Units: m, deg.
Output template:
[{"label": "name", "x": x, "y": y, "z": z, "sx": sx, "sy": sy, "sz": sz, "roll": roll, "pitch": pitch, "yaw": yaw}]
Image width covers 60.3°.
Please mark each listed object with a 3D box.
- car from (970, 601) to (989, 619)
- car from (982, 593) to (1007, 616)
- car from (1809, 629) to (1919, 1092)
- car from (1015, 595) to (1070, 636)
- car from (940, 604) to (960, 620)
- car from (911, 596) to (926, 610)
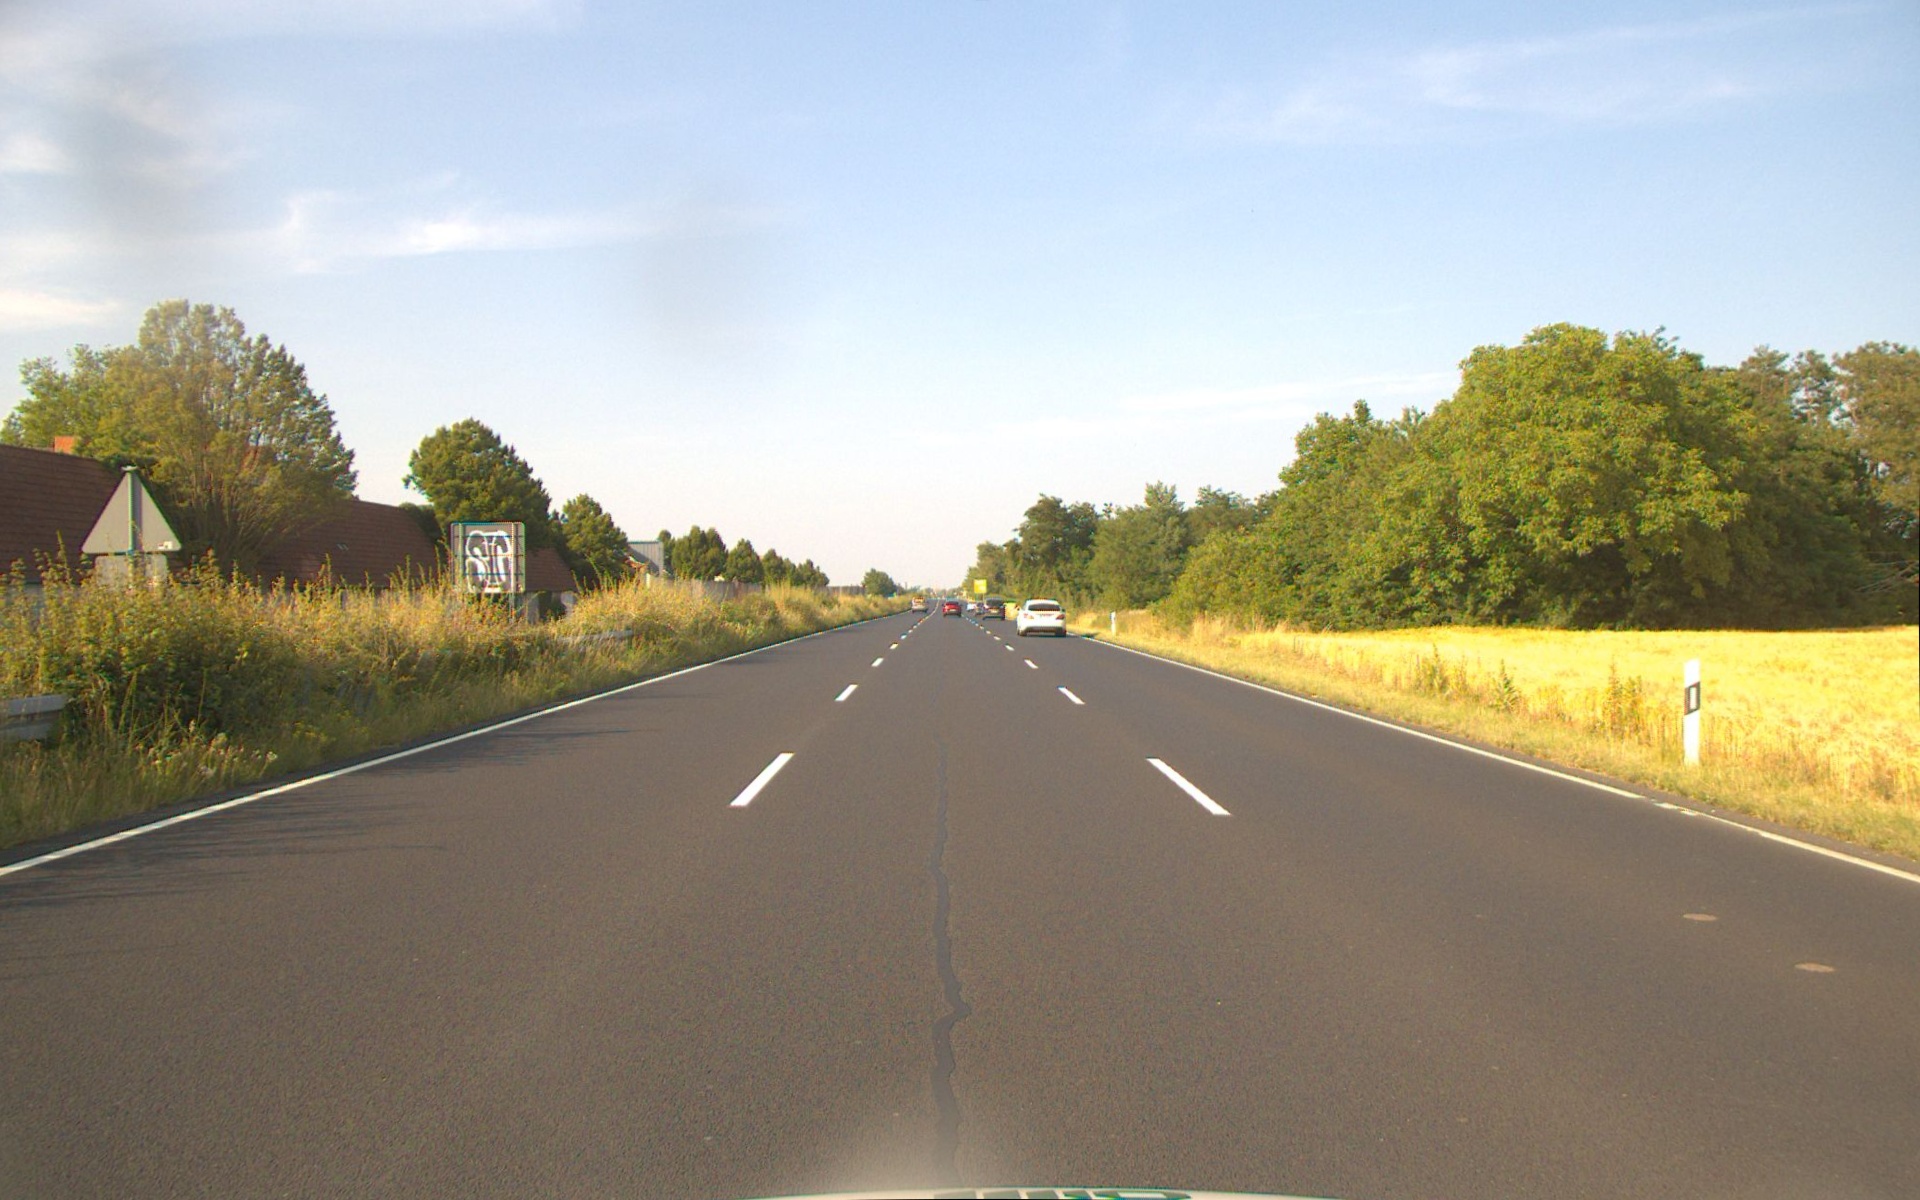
[{"label": "car", "x": 1.980, "y": 1.055, "z": 167.331, "sx": 1.796, "sy": 1.747, "sz": 3.861, "roll": 1, "pitch": -1, "yaw": 0}, {"label": "car", "x": 2.645, "y": 0.356, "z": 127.581, "sx": 1.791, "sy": 1.758, "sz": 3.999, "roll": 1, "pitch": -1, "yaw": -1}, {"label": "car", "x": 3.779, "y": 0.811, "z": 3.755, "sx": 1.584, "sy": 1.411, "sz": 3.950, "roll": 2, "pitch": -1, "yaw": -1}, {"label": "car", "x": 3.287, "y": 0.629, "z": 66.370, "sx": 1.953, "sy": 1.543, "sz": 3.999, "roll": 1, "pitch": -1, "yaw": -1}, {"label": "car", "x": -0.948, "y": 1.156, "z": 155.613, "sx": 1.775, "sy": 1.461, "sz": 3.857, "roll": 1, "pitch": -1, "yaw": -2}, {"label": "car", "x": -5.069, "y": 0.429, "z": 202.707, "sx": 1.722, "sy": 1.646, "sz": 4.000, "roll": 1, "pitch": -1, "yaw": 1}]
